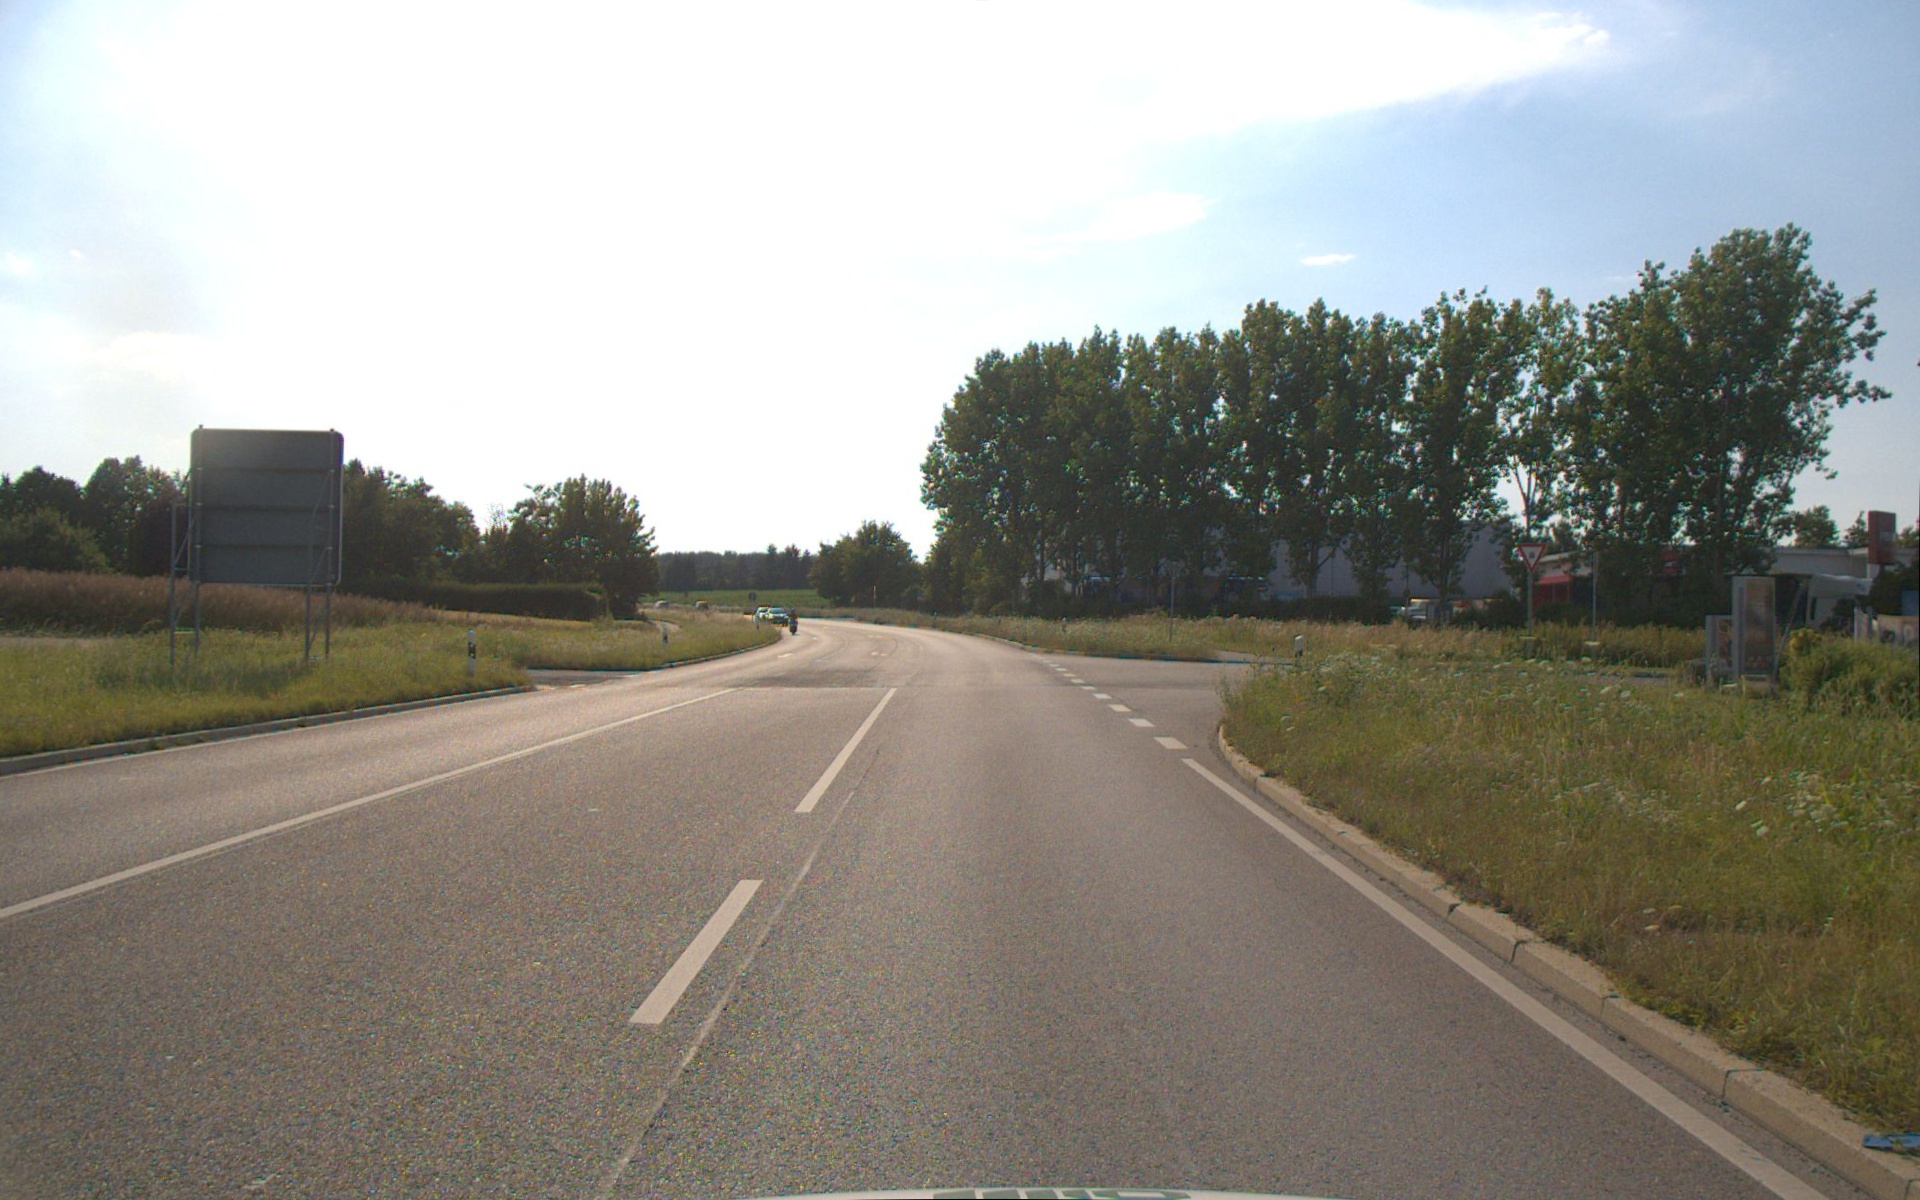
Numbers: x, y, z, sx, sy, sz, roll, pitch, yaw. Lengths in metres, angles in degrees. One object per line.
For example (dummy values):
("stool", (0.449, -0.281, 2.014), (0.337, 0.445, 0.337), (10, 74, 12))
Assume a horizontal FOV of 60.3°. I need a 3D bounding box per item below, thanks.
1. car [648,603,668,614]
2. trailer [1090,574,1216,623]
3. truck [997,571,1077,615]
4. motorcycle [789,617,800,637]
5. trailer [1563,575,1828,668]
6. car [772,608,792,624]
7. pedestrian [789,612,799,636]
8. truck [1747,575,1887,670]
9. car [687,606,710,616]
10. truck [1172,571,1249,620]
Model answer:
("car", (-42.498, 1.184, 232.899), (1.827, 1.432, 3.614), (4, -2, -25))
("trailer", (14.340, -0.053, 124.539), (2.651, 3.197, 13.155), (4, -3, -26))
("truck", (6.318, -0.570, 137.849), (2.479, 3.435, 9.611), (4, -2, -24))
("motorcycle", (-10.870, 1.764, 108.456), (0.574, 1.283, 2.119), (3, -1, -4))
("trailer", (34.927, 0.982, 79.540), (2.214, 3.984, 13.618), (4, -2, -24))
("car", (-15.289, 1.388, 142.398), (1.652, 1.372, 3.995), (0, 0, -6))
("pedestrian", (-10.868, 1.551, 108.560), (0.554, 1.531, 0.864), (3, -1, -4))
("truck", (37.855, 0.969, 73.217), (2.219, 3.984, 5.068), (4, -2, -29))
("car", (-33.827, 1.378, 214.139), (1.943, 1.171, 3.836), (4, -2, -25))
("truck", (17.748, -0.247, 117.578), (2.589, 3.217, 5.659), (4, -3, -27))
